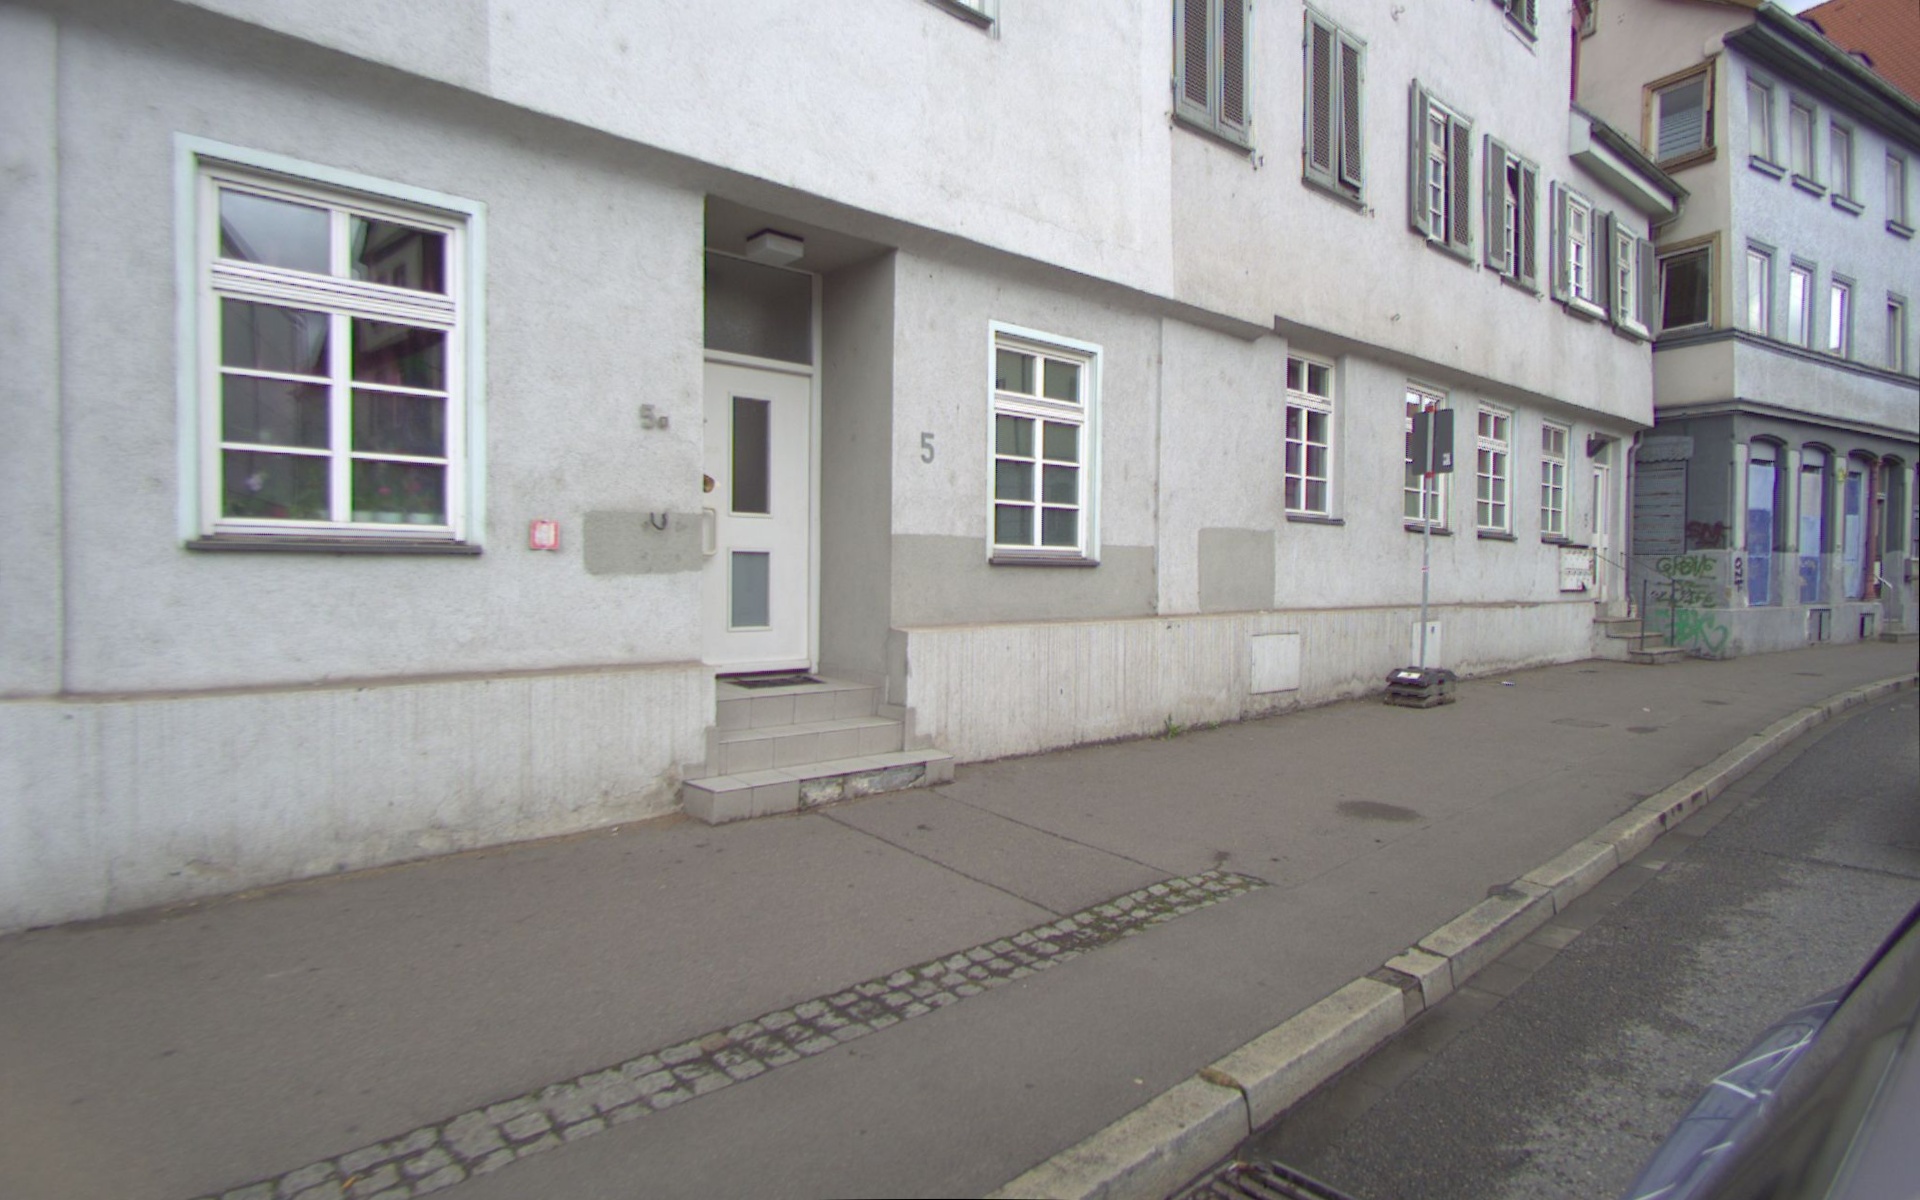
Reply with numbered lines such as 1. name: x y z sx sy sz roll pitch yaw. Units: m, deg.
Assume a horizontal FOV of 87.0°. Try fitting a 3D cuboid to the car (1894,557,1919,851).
1. car: 6.849 0.491 5.766 3.930 1.485 1.802 -1 -1 -41
